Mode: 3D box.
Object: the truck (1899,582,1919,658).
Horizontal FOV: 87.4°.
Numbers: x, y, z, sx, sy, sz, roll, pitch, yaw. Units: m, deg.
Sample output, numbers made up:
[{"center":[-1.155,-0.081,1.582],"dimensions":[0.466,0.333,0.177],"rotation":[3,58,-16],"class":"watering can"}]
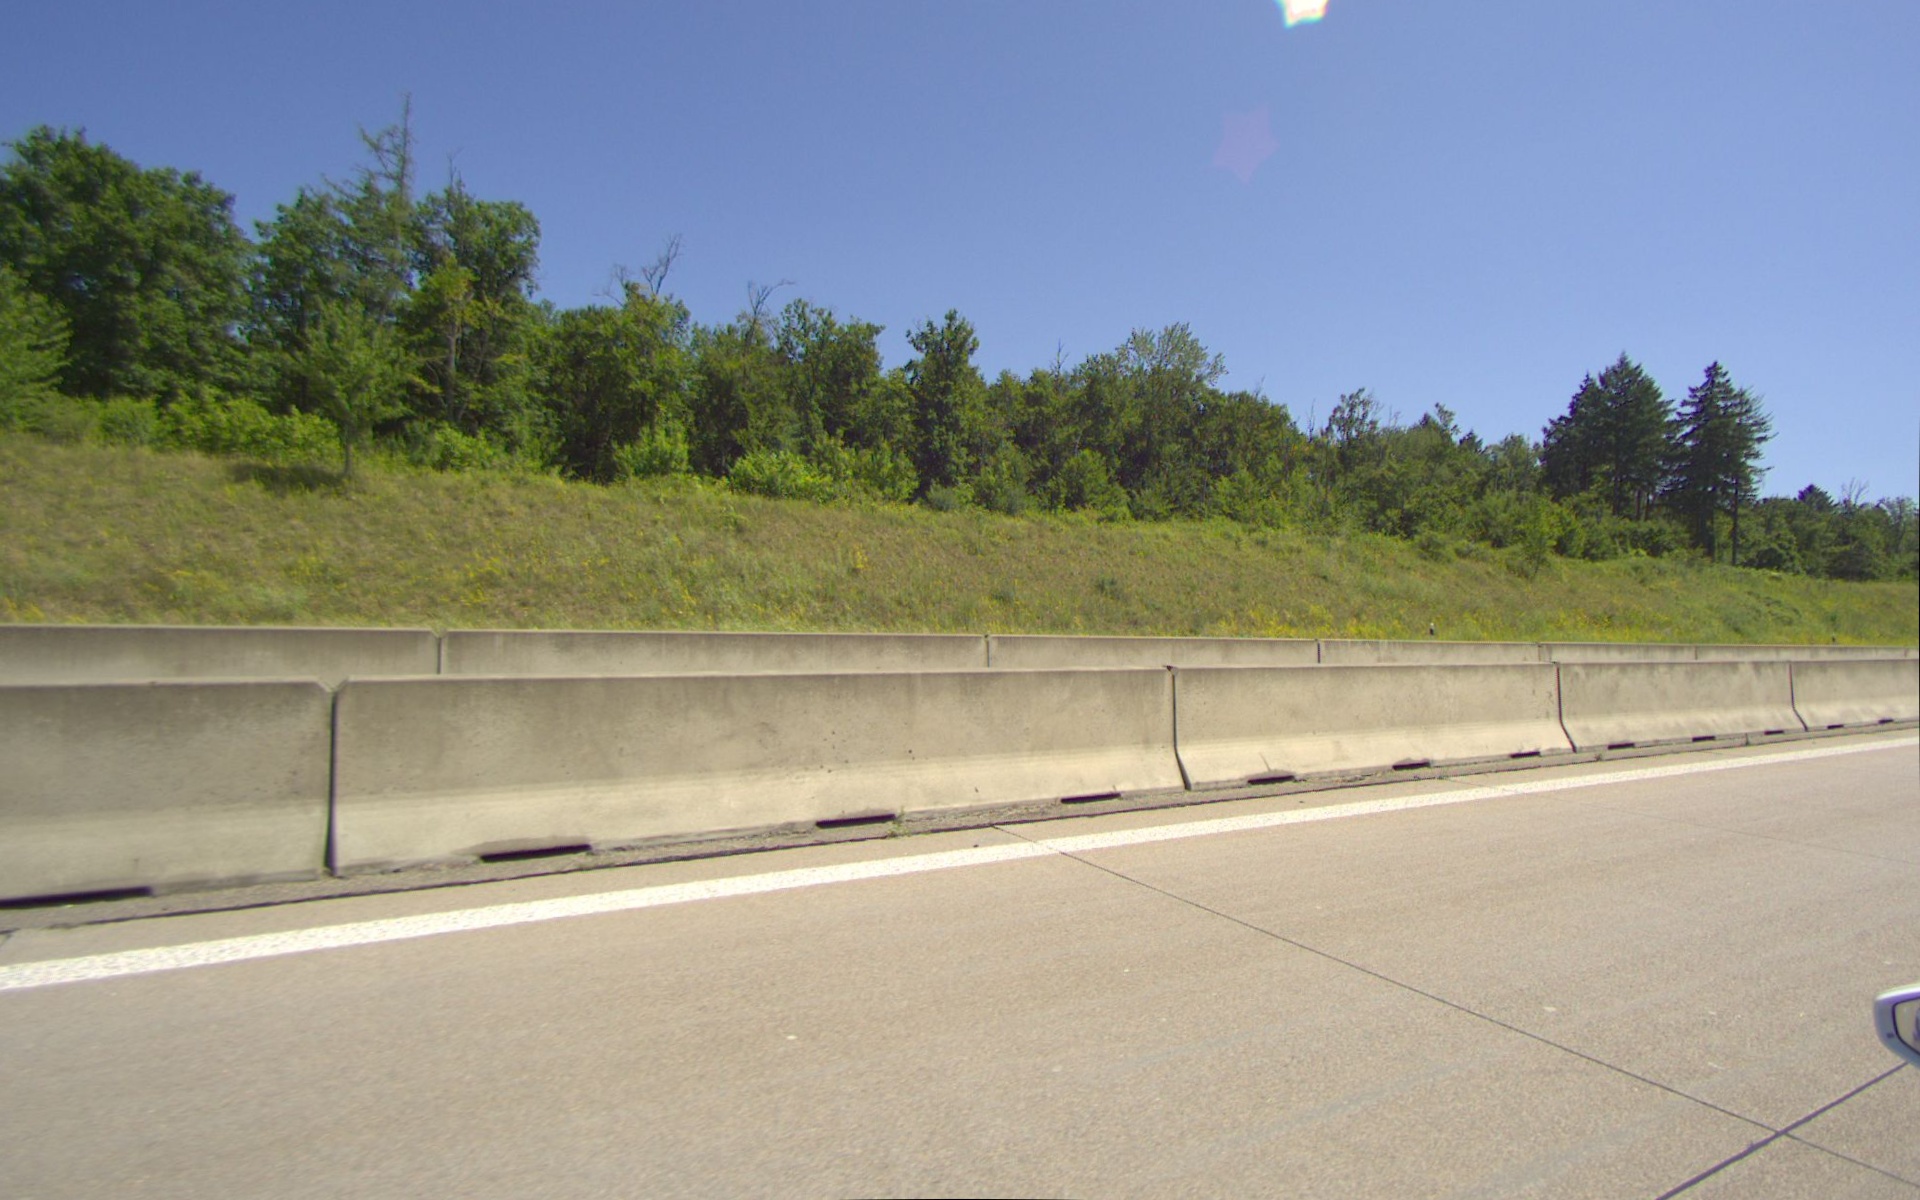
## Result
[{"center":[61.392,1.354,61.684],"dimensions":[7.892,4.564,3.241],"rotation":[2,-1,-30],"class":"truck"}]
